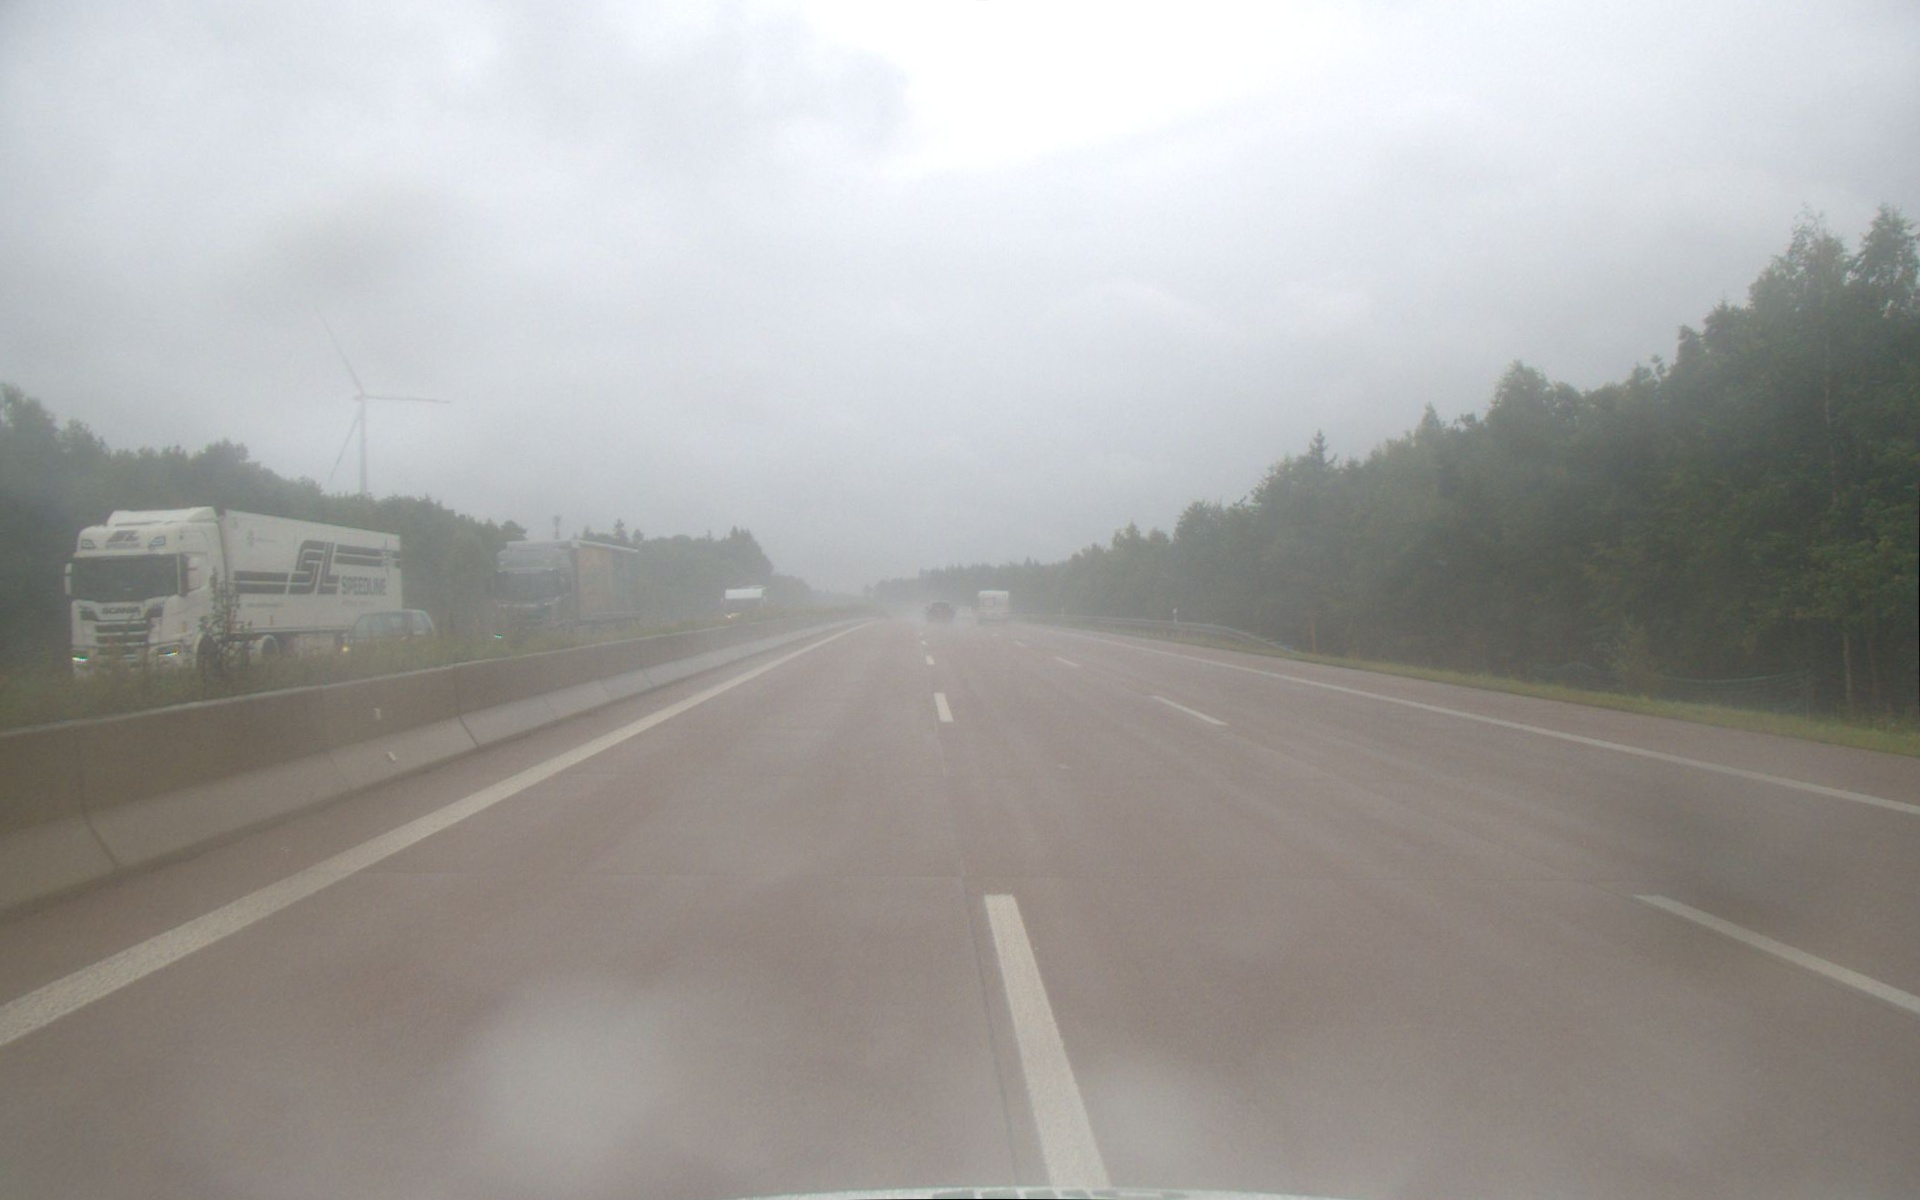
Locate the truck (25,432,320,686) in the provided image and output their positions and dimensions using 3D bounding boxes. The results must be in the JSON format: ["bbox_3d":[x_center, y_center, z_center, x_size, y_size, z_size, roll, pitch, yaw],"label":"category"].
[{"bbox_3d":[-18.684,-0.875,40.010,3.350,5.473,8.154,1,0,-2],"label":"truck"}]

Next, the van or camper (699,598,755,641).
[{"bbox_3d":[-14.236,1.125,101.566,2.735,2.447,6.486,-2,0,-3],"label":"van or camper"}]

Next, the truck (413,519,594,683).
[{"bbox_3d":[-15.327,0.040,56.442,3.846,5.102,8.949,1,0,-2],"label":"truck"}]

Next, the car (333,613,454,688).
[{"bbox_3d":[-11.379,0.979,33.369,1.387,1.380,3.083,-1,0,-1],"label":"car"}]

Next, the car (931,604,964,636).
[{"bbox_3d":[-0.872,1.325,113.381,2.130,2.016,4.129,3,0,-1],"label":"car"}]

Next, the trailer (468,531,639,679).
[{"bbox_3d":[-15.702,0.204,65.427,3.911,5.148,14.227,1,0,-3],"label":"trailer"}]

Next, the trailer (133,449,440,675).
[{"bbox_3d":[-18.912,-0.926,48.109,3.361,5.536,14.232,1,0,-1],"label":"trailer"}]
